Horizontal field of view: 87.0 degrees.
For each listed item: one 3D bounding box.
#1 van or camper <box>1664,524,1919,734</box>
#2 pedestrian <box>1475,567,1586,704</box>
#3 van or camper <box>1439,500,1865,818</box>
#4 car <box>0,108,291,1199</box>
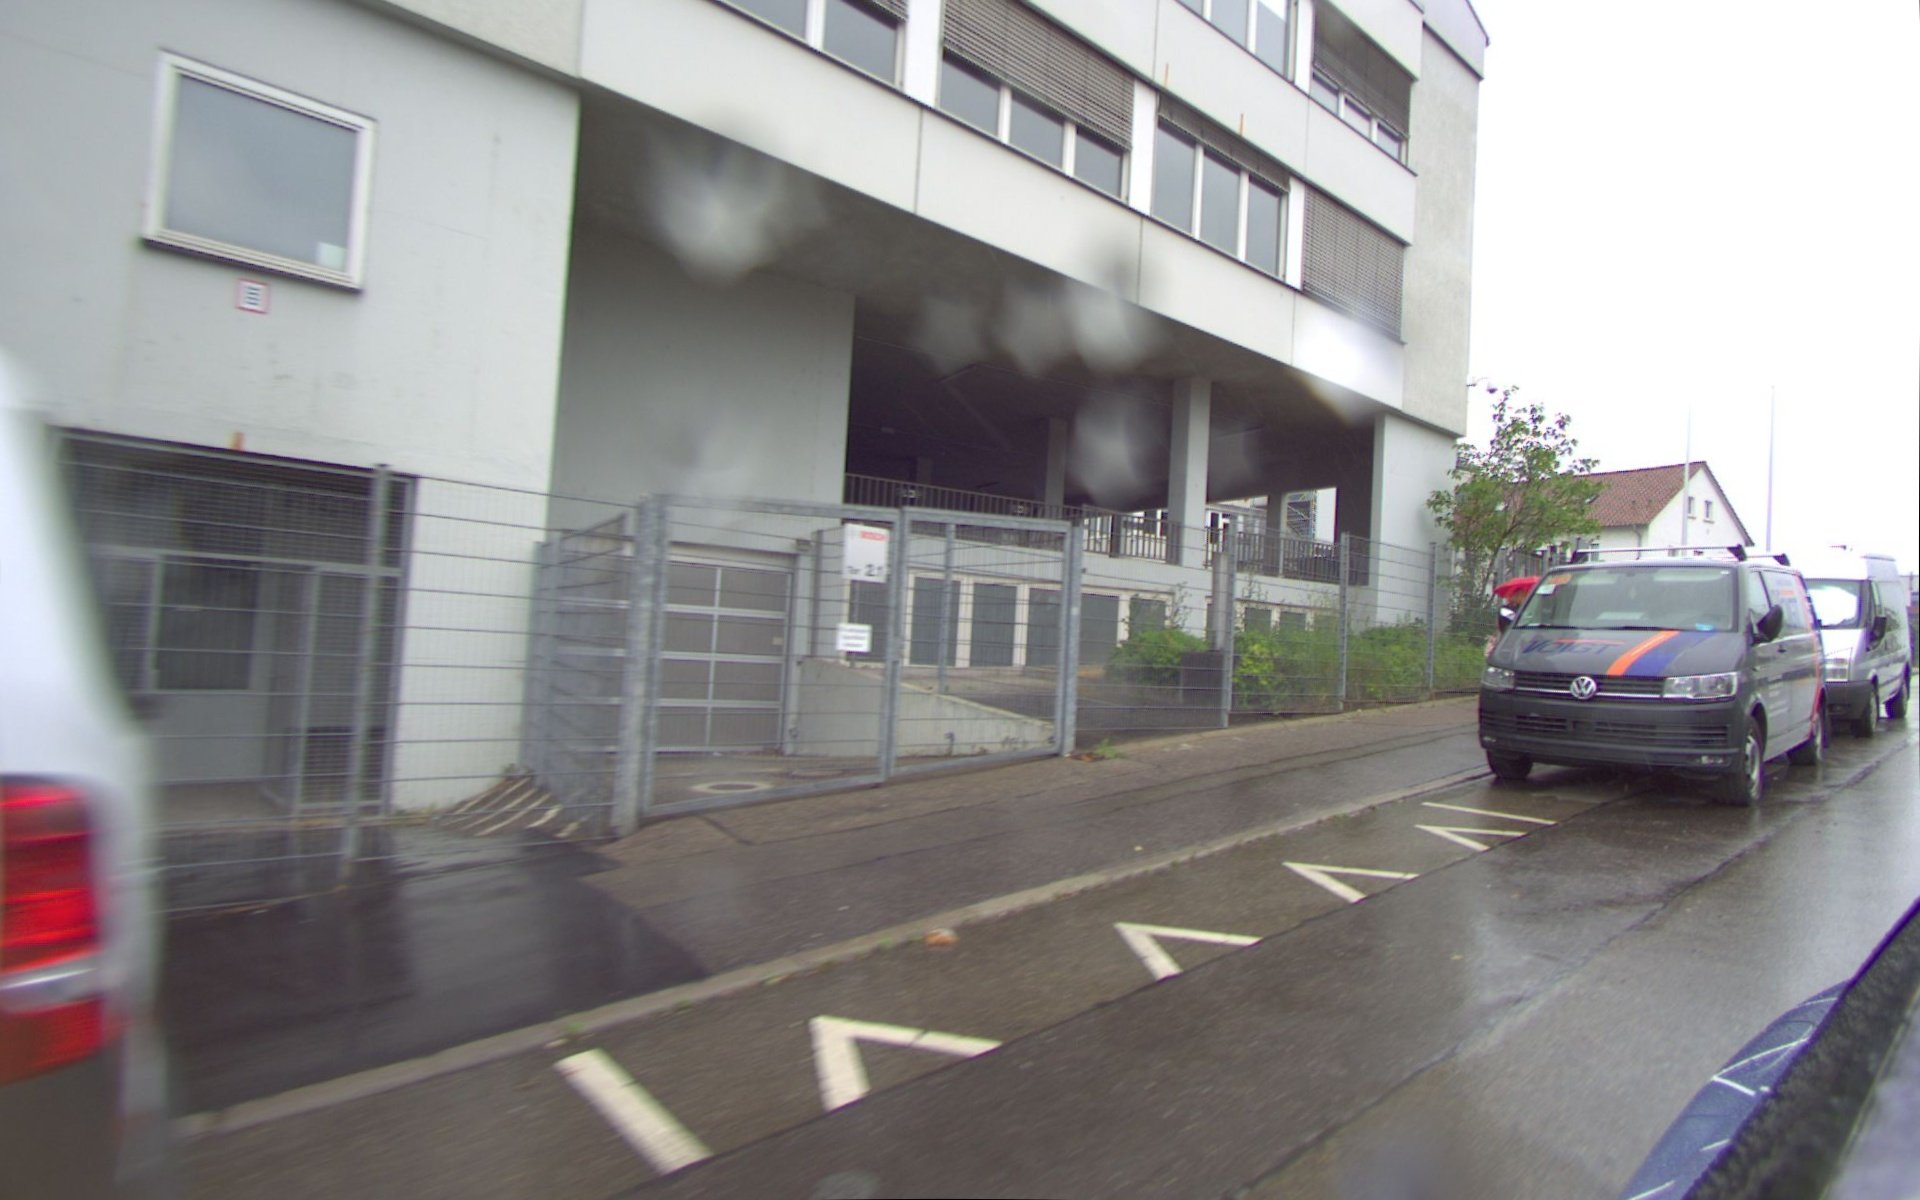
[{"bbox_3d":[11.361,0.329,13.493,5.346,2.271,1.997,1,1,-42],"label":"van or camper"},{"bbox_3d":[7.869,0.469,13.967,1.013,1.781,1.025,3,0,-43],"label":"pedestrian"},{"bbox_3d":[6.536,0.408,9.268,5.111,2.140,1.997,1,1,-42],"label":"van or camper"},{"bbox_3d":[-3.355,0.404,0.453,4.888,1.959,1.997,1,0,-41],"label":"car"}]
